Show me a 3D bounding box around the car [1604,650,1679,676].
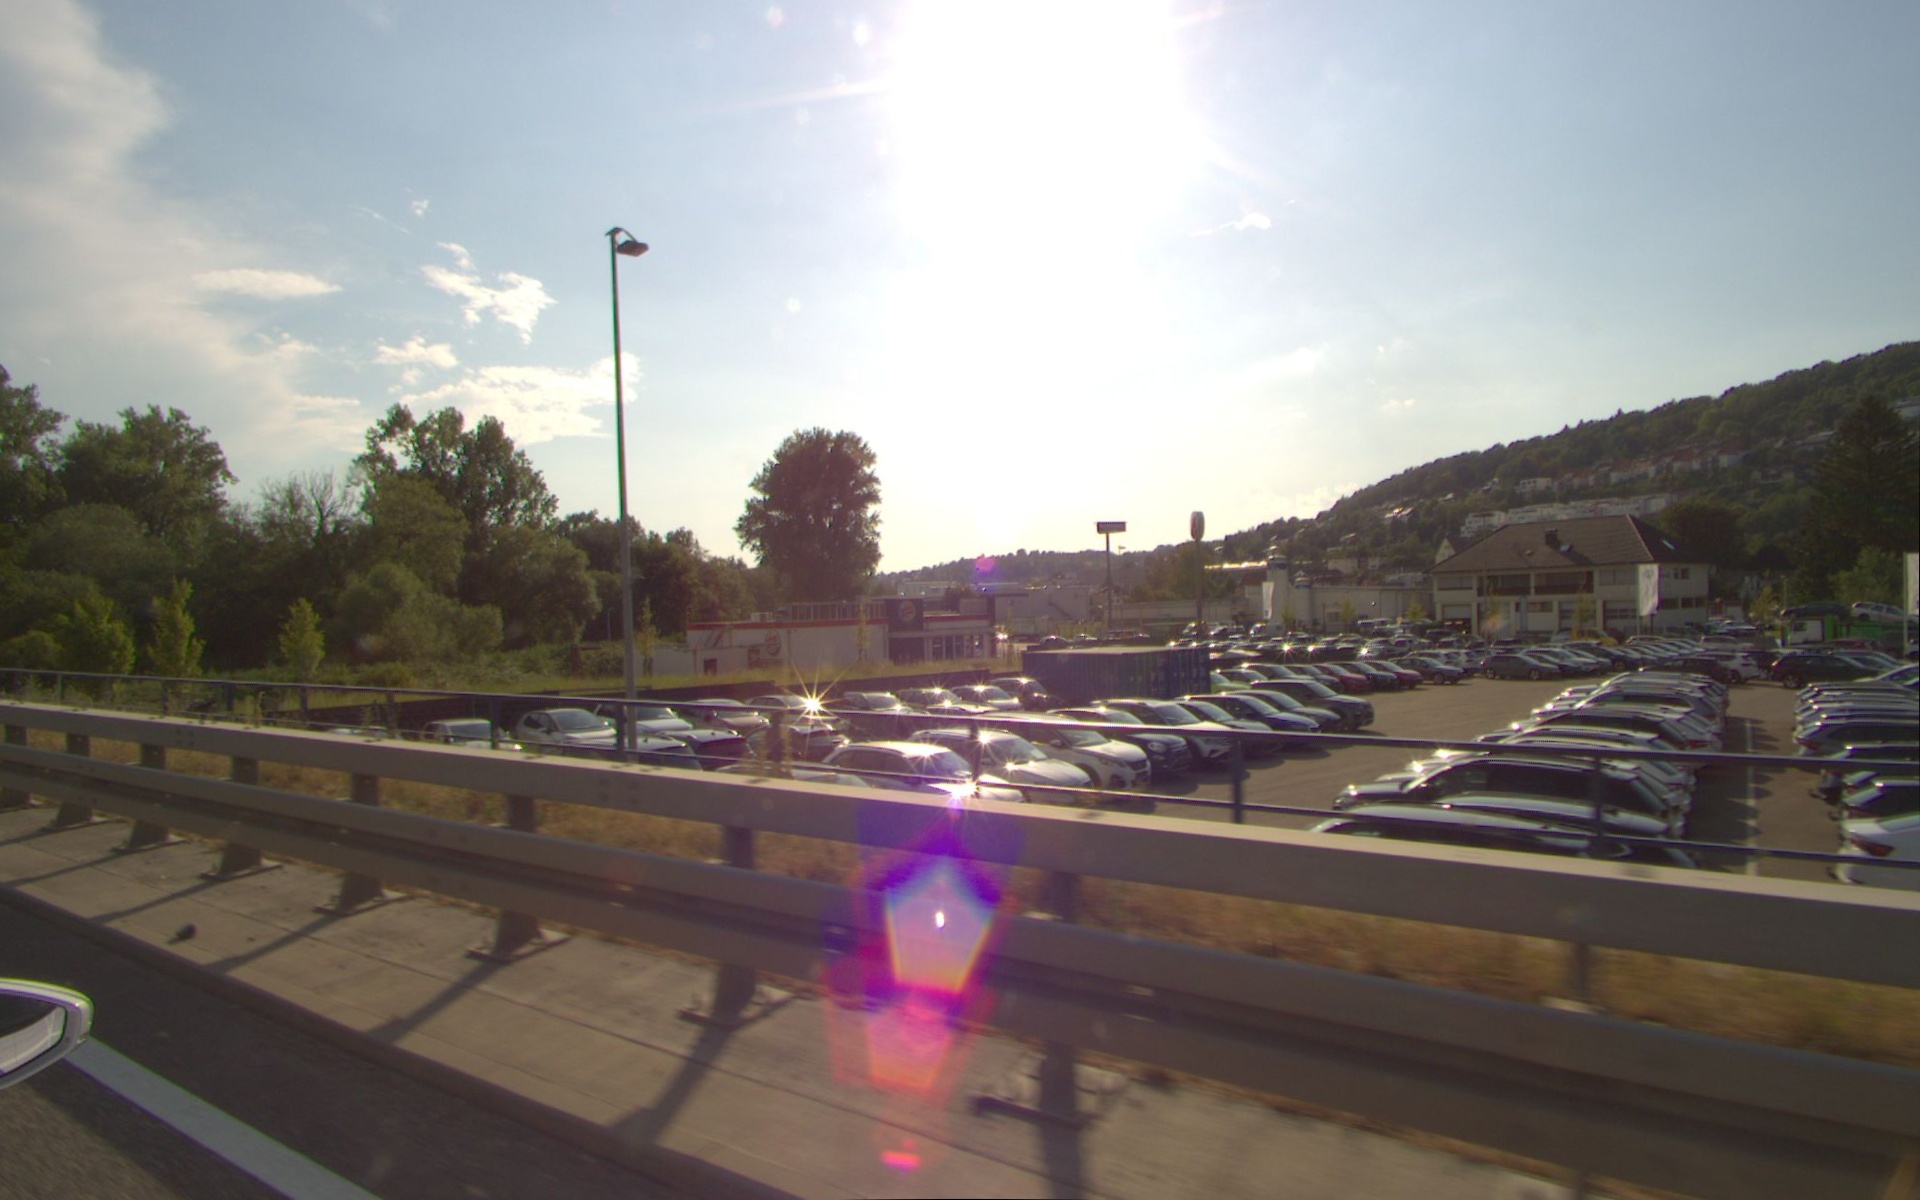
[{"bbox_3d":[44.545,4.079,65.495,1.734,1.597,3.748,1,-2,-41],"label":"car"}]

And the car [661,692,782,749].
[{"bbox_3d":[-7.570,3.748,31.628,3.960,1.482,1.942,-2,-3,45],"label":"car"}]

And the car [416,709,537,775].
[{"bbox_3d":[-13.179,3.780,27.179,1.807,1.371,3.961,1,-3,-44],"label":"car"}]

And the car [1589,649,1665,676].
[{"bbox_3d":[42.612,3.971,64.043,1.734,1.597,3.748,1,-2,-41],"label":"car"}]

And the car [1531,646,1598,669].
[{"bbox_3d":[43.495,4.100,72.125,1.732,1.597,3.752,1,-2,-37],"label":"car"}]

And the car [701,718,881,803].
[{"bbox_3d":[-3.842,3.531,22.523,3.946,1.482,1.702,-2,-2,35],"label":"car"}]

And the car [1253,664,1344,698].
[{"bbox_3d":[16.833,4.008,49.944,1.694,1.482,3.965,1,-3,-42],"label":"car"}]

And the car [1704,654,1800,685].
[{"bbox_3d":[42.985,3.742,54.403,1.731,1.597,3.755,1,-2,-35],"label":"car"}]

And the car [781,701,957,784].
[{"bbox_3d":[-2.297,3.417,24.571,4.300,1.643,1.700,-2,-2,37],"label":"car"}]

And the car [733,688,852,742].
[{"bbox_3d":[-5.564,3.743,33.027,3.960,1.482,1.942,-2,-3,45],"label":"car"}]

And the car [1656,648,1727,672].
[{"bbox_3d":[51.968,4.234,71.162,1.734,1.597,3.748,1,-2,-41],"label":"car"}]

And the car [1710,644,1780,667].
[{"bbox_3d":[57.322,4.019,73.137,1.734,1.597,3.748,1,-2,-41],"label":"car"}]

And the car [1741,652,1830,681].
[{"bbox_3d":[48.809,3.886,59.266,1.731,1.597,3.755,1,-2,-35],"label":"car"}]

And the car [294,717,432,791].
[{"bbox_3d":[-15.357,3.875,25.711,3.950,1.482,1.700,-2,-2,37],"label":"car"}]

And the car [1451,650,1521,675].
[{"bbox_3d":[35.329,4.175,67.322,1.732,1.597,3.752,1,-2,-37],"label":"car"}]

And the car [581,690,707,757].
[{"bbox_3d":[-9.628,3.670,30.365,4.201,1.662,1.942,-2,-3,45],"label":"car"}]

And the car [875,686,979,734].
[{"bbox_3d":[-1.276,4.004,36.981,1.694,1.482,3.965,1,-3,-42],"label":"car"}]

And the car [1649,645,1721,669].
[{"bbox_3d":[50.536,3.978,69.846,1.734,1.597,3.748,1,-2,-41],"label":"car"}]

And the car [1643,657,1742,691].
[{"bbox_3d":[37.426,3.770,51.238,1.731,1.597,3.755,1,-2,-35],"label":"car"}]

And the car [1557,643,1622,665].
[{"bbox_3d":[47.121,4.022,74.962,1.732,1.597,3.752,1,-2,-37],"label":"car"}]

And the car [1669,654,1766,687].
[{"bbox_3d":[39.970,3.707,52.911,1.731,1.597,3.755,1,-2,-35],"label":"car"}]

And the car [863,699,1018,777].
[{"bbox_3d":[-0.567,3.598,26.681,3.960,1.664,1.942,-2,-3,45],"label":"car"}]

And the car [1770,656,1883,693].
[{"bbox_3d":[41.113,3.496,47.598,1.731,1.597,3.755,1,-2,-35],"label":"car"}]

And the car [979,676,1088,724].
[{"bbox_3d":[2.813,3.847,39.003,3.960,1.614,1.942,-2,-3,45],"label":"car"}]

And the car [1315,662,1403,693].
[{"bbox_3d":[20.876,4.017,52.515,1.694,1.482,3.965,1,-3,-42],"label":"car"}]

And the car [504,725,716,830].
[{"bbox_3d":[-6.618,3.248,18.817,3.944,1.482,1.703,-2,-2,33],"label":"car"}]

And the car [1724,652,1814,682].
[{"bbox_3d":[46.784,3.851,57.964,1.731,1.597,3.755,1,-2,-35],"label":"car"}]

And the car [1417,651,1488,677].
[{"bbox_3d":[31.546,4.083,64.211,1.732,1.597,3.752,1,-2,-37],"label":"car"}]

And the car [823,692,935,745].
[{"bbox_3d":[-2.870,4.083,35.031,3.960,1.521,1.796,-2,-3,44],"label":"car"}]

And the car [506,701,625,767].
[{"bbox_3d":[-11.465,3.816,28.984,1.807,1.518,3.961,1,-3,-44],"label":"car"}]

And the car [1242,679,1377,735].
[{"bbox_3d":[11.648,3.519,33.508,3.949,1.623,1.700,-2,-2,37],"label":"car"}]

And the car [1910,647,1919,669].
[{"bbox_3d":[62.276,3.615,62.562,1.569,1.367,3.975,1,-2,-35],"label":"car"}]

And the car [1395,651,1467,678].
[{"bbox_3d":[29.633,4.053,63.065,1.732,1.597,3.752,1,-2,-37],"label":"car"}]

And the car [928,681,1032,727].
[{"bbox_3d":[0.713,3.887,37.870,1.694,1.482,3.965,1,-3,-42],"label":"car"}]

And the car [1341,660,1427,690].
[{"bbox_3d":[22.825,4.033,54.031,1.694,1.482,3.965,1,-3,-42],"label":"car"}]

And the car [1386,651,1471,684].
[{"bbox_3d":[26.573,3.798,56.907,3.960,1.772,1.982,-2,-3,44],"label":"car"}]

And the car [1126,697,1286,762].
[{"bbox_3d":[6.761,3.522,27.703,3.949,1.482,1.700,-2,-2,37],"label":"car"}]

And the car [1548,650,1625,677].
[{"bbox_3d":[39.173,3.963,62.658,1.734,1.597,3.748,1,-2,-41],"label":"car"}]

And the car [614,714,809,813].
[{"bbox_3d":[-5.137,3.268,20.536,3.946,1.583,1.702,-2,-2,35],"label":"car"}]
